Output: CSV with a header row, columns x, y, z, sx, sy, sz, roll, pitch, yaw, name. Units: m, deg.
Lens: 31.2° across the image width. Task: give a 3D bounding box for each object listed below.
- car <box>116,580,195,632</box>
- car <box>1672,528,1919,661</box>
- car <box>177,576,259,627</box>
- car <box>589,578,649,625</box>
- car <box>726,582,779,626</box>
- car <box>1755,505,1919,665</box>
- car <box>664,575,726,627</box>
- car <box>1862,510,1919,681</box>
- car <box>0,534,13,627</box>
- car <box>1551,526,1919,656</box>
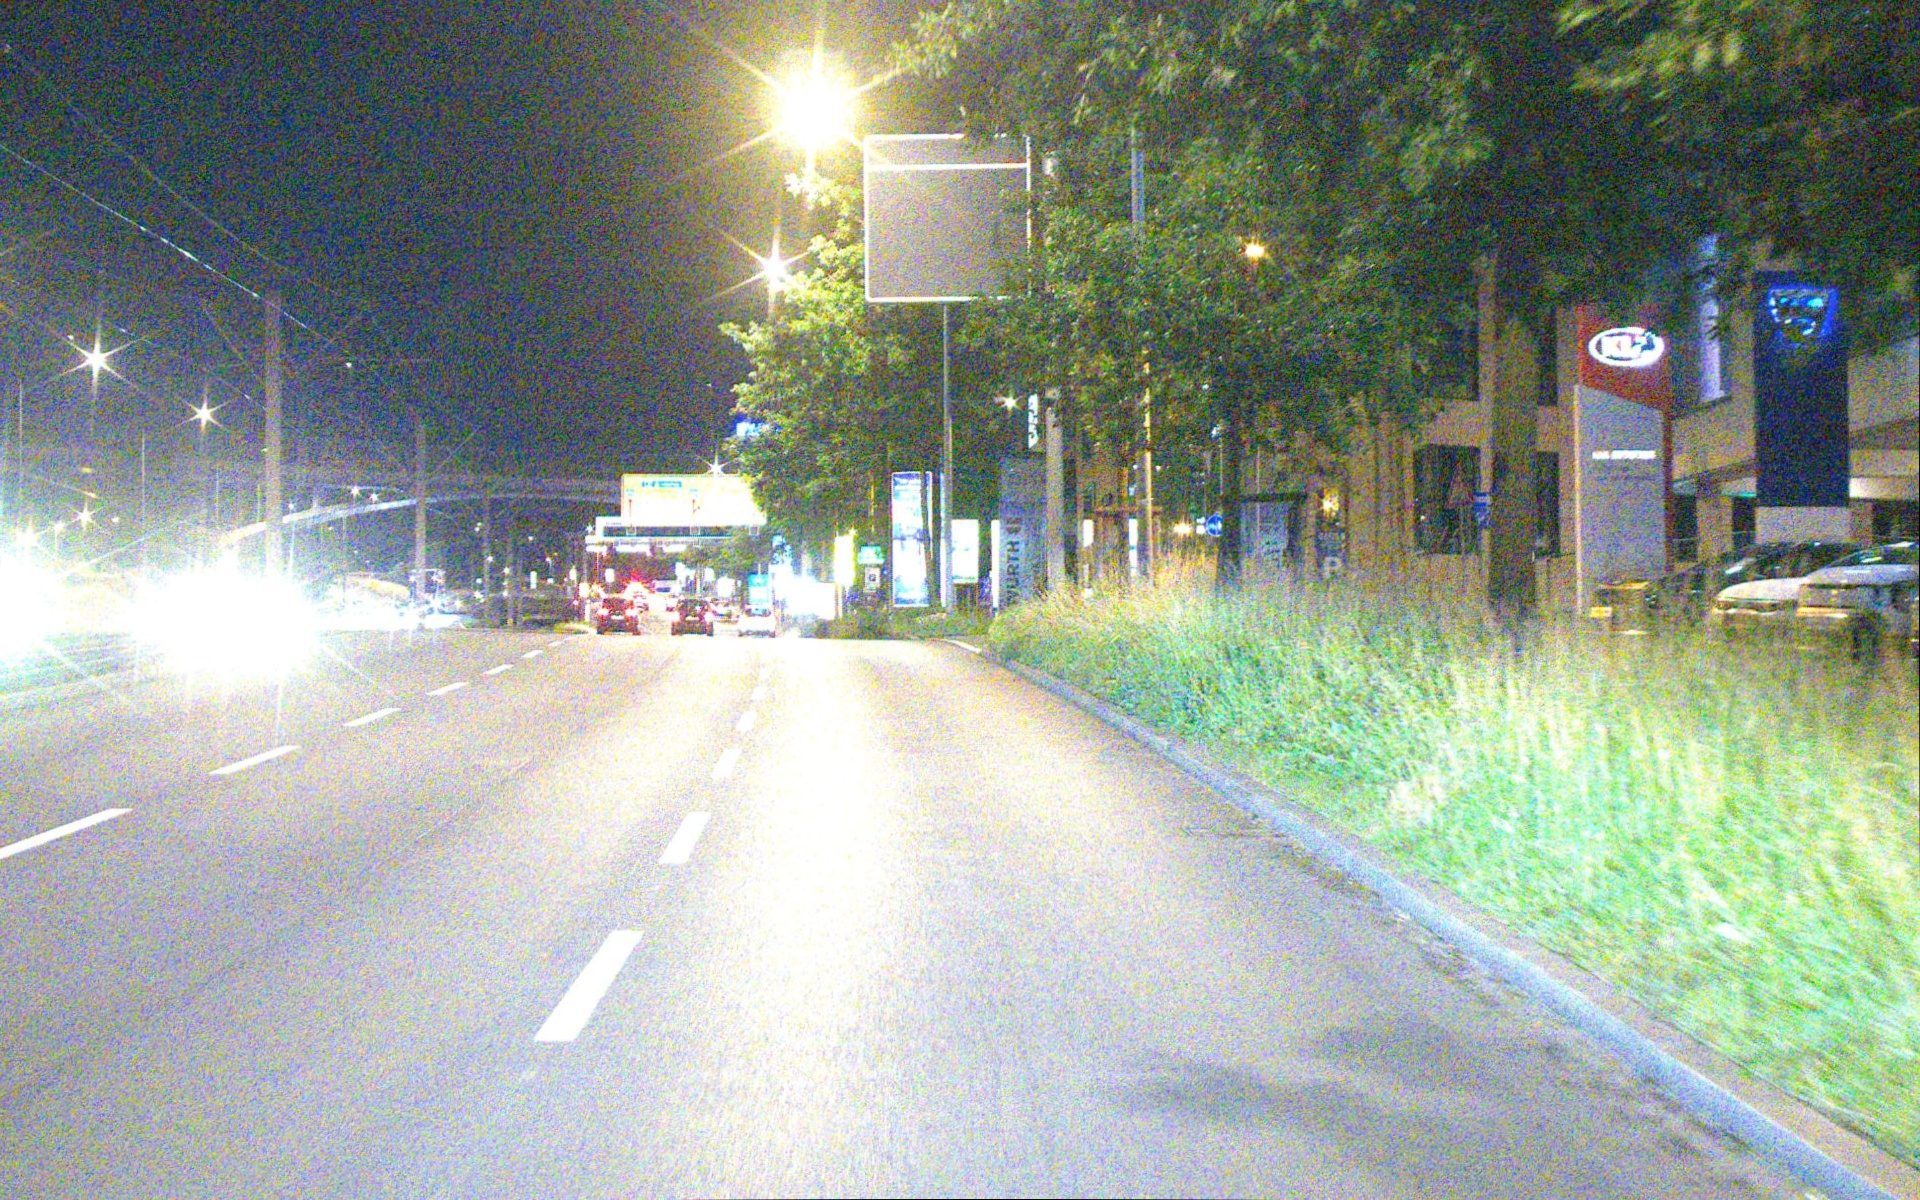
x,y,z,sx,sy,sz,roll,pitch,yaw,name
-26.292,0.181,112.475,1.993,1.589,4.001,-2,1,-6,car
9.686,-0.087,34.774,4.628,1.260,1.948,0,2,-26,car
-22.002,0.033,102.020,1.620,1.435,4.338,-2,0,-2,car
-14.824,0.056,149.651,2.262,2.007,4.826,0,0,-2,car
-10.186,0.201,169.242,2.427,2.106,4.826,1,0,-2,car
9.674,-0.166,32.050,3.986,1.419,1.910,0,2,-18,car
-11.192,0.025,145.500,2.356,2.122,4.826,0,0,-2,car
9.685,-0.026,29.298,3.601,1.428,1.680,0,0,-24,car
-29.208,-0.486,101.404,2.145,2.662,6.964,-3,0,-14,car
9.133,-0.094,39.722,4.120,1.415,1.877,1,0,-14,car
